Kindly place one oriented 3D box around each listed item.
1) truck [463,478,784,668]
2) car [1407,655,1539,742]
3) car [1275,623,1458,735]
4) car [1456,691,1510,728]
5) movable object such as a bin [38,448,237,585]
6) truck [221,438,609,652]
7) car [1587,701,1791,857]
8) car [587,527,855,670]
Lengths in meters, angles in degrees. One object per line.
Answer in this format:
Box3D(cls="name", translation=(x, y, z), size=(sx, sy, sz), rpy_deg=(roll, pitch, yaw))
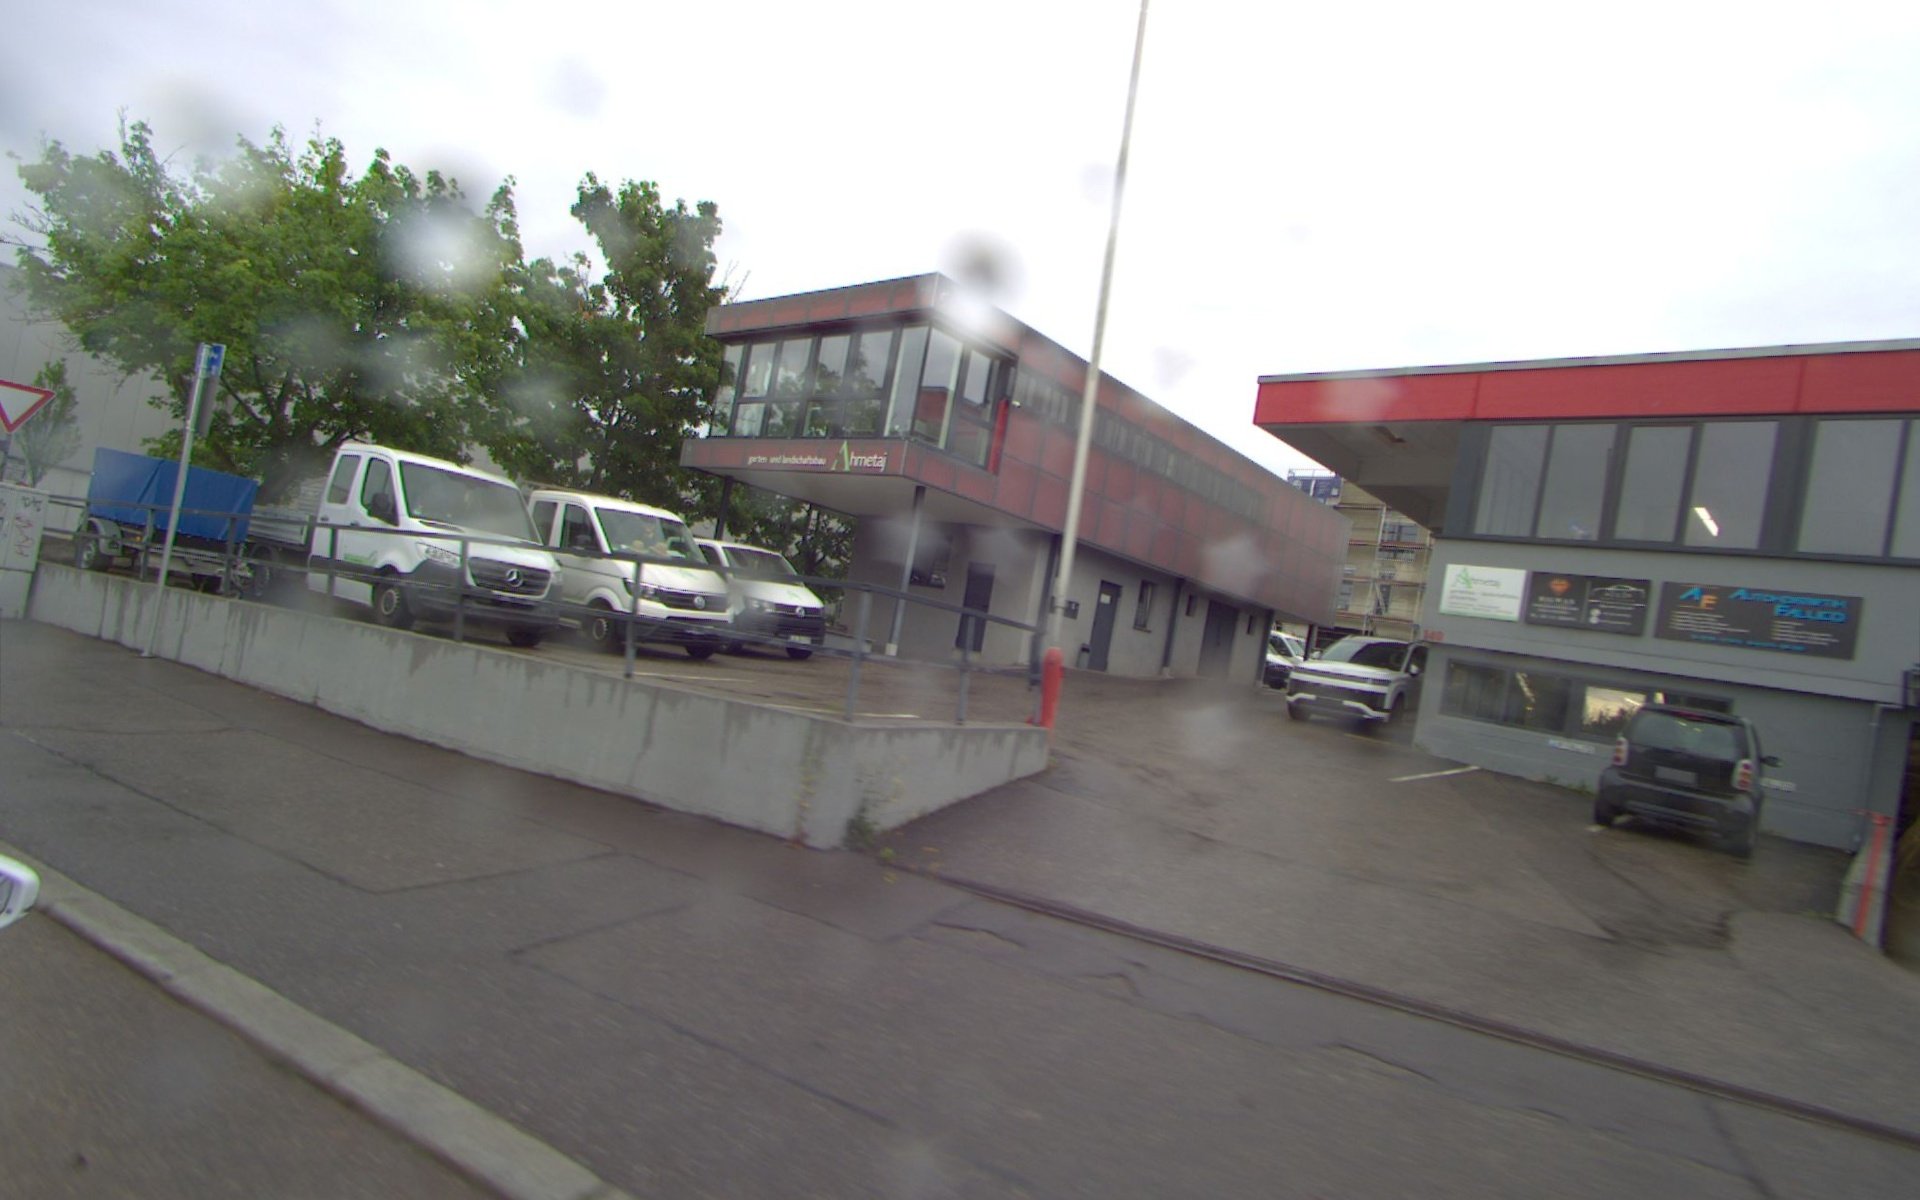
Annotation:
Box3D(cls="truck", translation=(-5.351, -0.474, 15.745), size=(4.764, 2.368, 2.245), rpy_deg=(6, -3, 37))
Box3D(cls="car", translation=(12.260, 2.372, 23.951), size=(1.648, 1.676, 3.691), rpy_deg=(9, 1, 44))
Box3D(cls="car", translation=(7.996, 1.576, 19.630), size=(1.834, 1.760, 3.916), rpy_deg=(8, 0, 44))
Box3D(cls="car", translation=(26.313, 5.527, 50.575), size=(1.619, 1.489, 3.050), rpy_deg=(6, -4, 42))
Box3D(cls="movable object such as a bin", translation=(-11.197, -1.126, 13.724), size=(1.826, 1.517, 1.311), rpy_deg=(7, -2, 26))
Box3D(cls="truck", translation=(-7.519, -0.808, 13.638), size=(5.563, 2.238, 2.109), rpy_deg=(6, -3, 34))
Box3D(cls="car", translation=(9.053, 2.150, 12.431), size=(1.655, 1.463, 2.709), rpy_deg=(6, -3, 42))
Box3D(cls="car", translation=(-4.520, -0.080, 18.635), size=(4.866, 2.036, 2.057), rpy_deg=(6, -3, 39))
